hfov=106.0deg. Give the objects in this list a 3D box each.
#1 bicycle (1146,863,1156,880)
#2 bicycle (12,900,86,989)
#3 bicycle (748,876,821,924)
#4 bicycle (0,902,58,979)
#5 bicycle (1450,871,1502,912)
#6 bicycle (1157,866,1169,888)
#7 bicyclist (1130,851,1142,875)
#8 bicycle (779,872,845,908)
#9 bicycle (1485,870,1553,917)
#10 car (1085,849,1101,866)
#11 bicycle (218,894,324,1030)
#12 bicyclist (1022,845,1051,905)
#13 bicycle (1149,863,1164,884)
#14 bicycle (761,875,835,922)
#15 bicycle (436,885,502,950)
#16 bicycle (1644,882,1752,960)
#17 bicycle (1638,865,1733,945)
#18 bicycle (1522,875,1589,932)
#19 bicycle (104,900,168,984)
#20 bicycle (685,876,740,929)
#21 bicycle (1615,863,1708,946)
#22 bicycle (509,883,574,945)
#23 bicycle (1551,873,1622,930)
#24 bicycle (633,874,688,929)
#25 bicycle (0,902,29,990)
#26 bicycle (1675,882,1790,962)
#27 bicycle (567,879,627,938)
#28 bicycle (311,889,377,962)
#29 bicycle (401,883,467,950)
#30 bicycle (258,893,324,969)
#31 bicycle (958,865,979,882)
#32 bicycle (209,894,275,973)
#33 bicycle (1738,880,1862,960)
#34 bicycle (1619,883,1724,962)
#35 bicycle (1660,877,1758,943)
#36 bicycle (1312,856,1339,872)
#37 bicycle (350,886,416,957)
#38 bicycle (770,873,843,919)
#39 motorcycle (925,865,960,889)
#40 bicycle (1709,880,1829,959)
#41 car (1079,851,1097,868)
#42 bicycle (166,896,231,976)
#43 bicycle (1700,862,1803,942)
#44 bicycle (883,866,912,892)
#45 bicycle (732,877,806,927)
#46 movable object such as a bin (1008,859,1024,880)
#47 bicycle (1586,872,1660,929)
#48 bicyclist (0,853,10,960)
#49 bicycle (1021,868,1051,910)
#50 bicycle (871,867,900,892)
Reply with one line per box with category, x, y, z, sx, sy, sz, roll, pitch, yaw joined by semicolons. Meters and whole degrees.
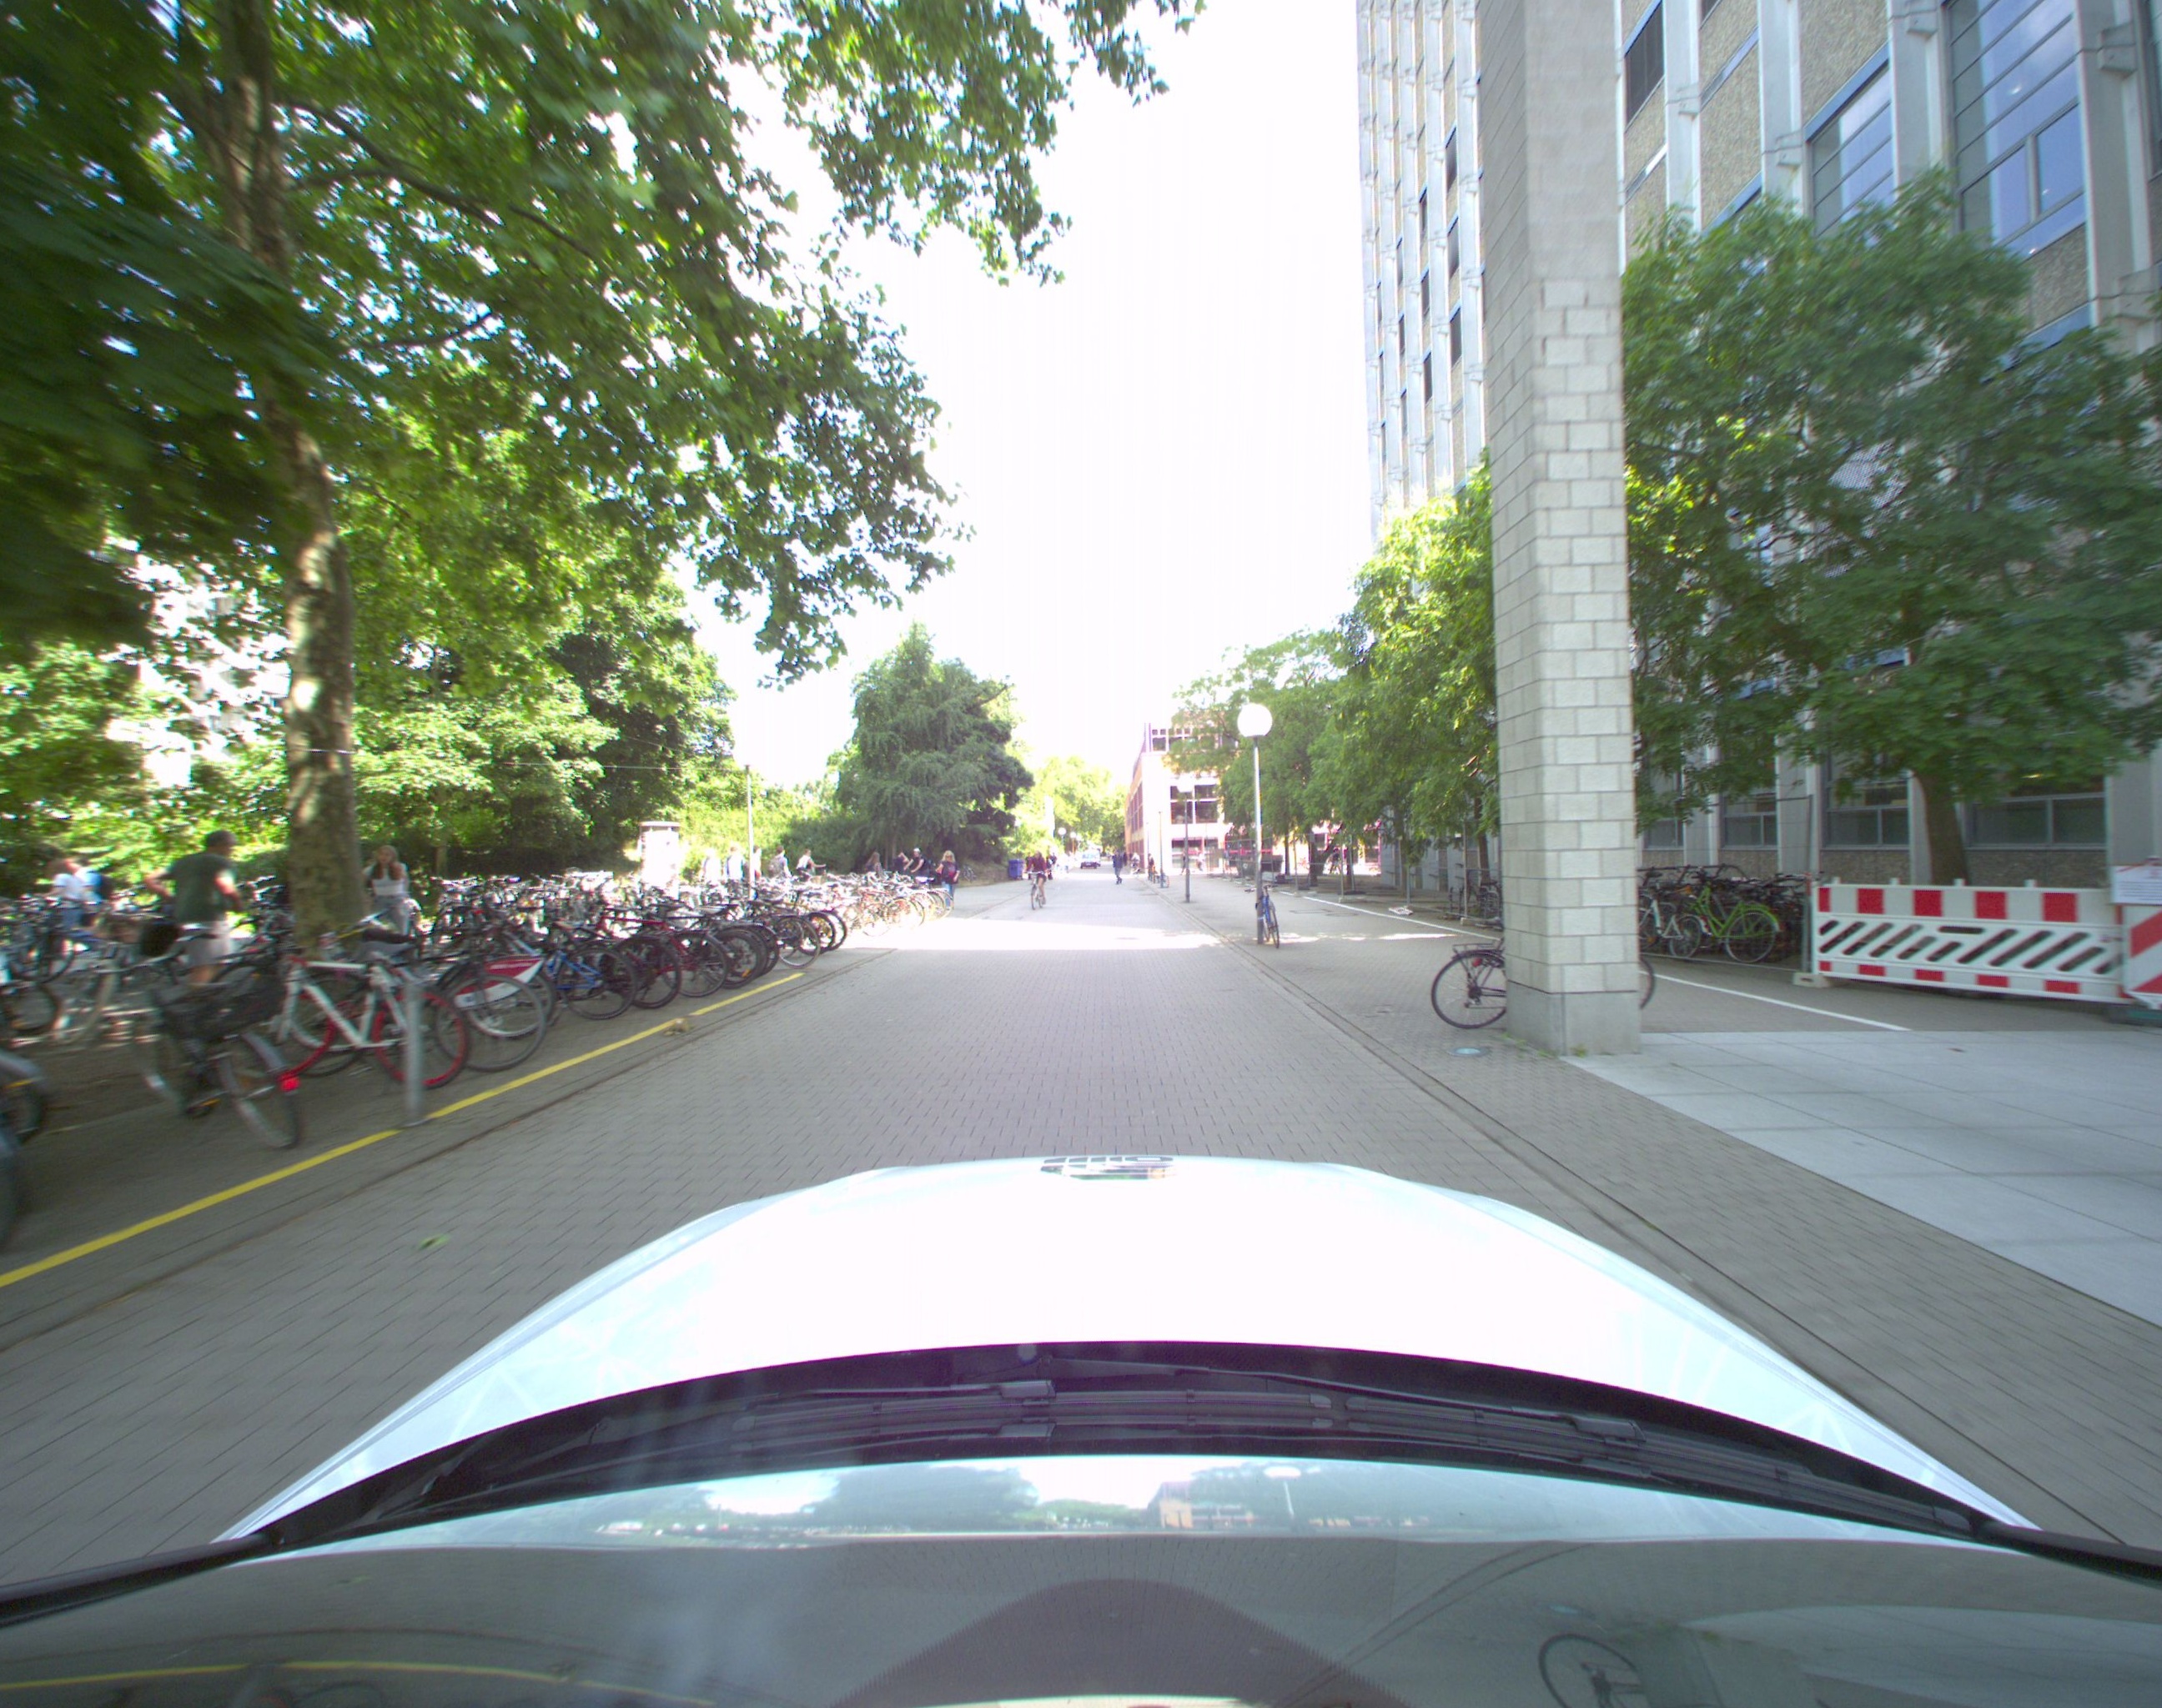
bicycle;4.209;1.034;49.275;0.449;0.962;1.740;-4;0;1
bicycle;-14.368;1.224;11.361;1.678;1.083;0.477;-1;0;44
bicycle;-6.963;1.065;19.114;1.680;1.083;0.476;-1;0;21
bicycle;-16.250;1.288;11.805;0.596;1.083;1.709;-1;0;45
bicycle;9.428;0.874;19.482;0.290;0.905;1.615;-1;0;-7
bicycle;3.808;1.064;37.963;0.394;0.936;1.732;-3;0;1
bicyclist;4.028;0.639;59.743;0.591;1.716;0.659;-1;0;-31
bicycle;-8.266;1.104;25.020;1.910;1.047;0.538;0;0;-22
bicycle;9.290;0.807;17.347;0.290;0.905;1.801;-1;0;-7
car;1.574;0.402;101.546;1.876;1.974;5.217;-1;0;2
bicycle;-8.342;1.047;8.440;0.578;1.199;1.680;0;0;-38
bicyclist;-1.307;0.618;23.955;0.769;1.716;0.910;-2;-1;-1
bicycle;4.051;1.029;43.853;0.706;1.093;1.749;-1;0;1
bicycle;-6.802;1.061;19.604;1.705;1.083;0.476;-1;0;16
bicycle;-11.042;1.119;14.672;1.677;1.083;0.477;-1;0;36
bicycle;8.138;0.850;10.805;0.290;0.905;1.447;-1;0;-2
bicycle;9.022;0.725;12.206;0.290;1.094;1.447;-1;0;-2
bicycle;8.323;0.840;14.337;0.290;0.905;1.447;-1;0;-2
bicycle;-13.762;1.248;11.855;1.677;1.083;0.477;-1;0;36
bicycle;-8.134;1.048;17.949;1.678;1.083;0.477;-1;0;43
bicycle;8.630;0.717;12.159;0.290;1.128;1.447;-1;0;-2
bicycle;-10.207;1.109;15.387;1.677;1.083;0.477;-1;0;36
bicycle;8.922;0.817;14.421;0.290;0.905;1.447;-1;0;-2
bicycle;-8.769;0.960;16.953;1.678;1.083;0.477;-1;0;43
bicycle;-14.781;1.236;11.026;1.678;1.083;0.477;-1;0;44
bicycle;8.484;0.854;10.665;0.290;0.905;1.447;-1;0;-2
bicycle;-9.646;1.055;16.199;1.678;1.083;0.477;-1;0;39
bicycle;-12.068;1.144;13.317;1.677;1.083;0.477;-1;0;36
bicycle;-11.338;1.072;14.263;1.677;1.083;0.477;-1;0;36
bicycle;-12.529;1.193;12.907;1.677;1.083;0.477;-1;0;36
bicycle;-6.193;1.092;44.945;0.418;0.910;1.747;-1;-2;17
bicycle;-12.815;1.181;12.424;1.677;1.083;0.477;-1;0;36
bicycle;9.349;0.826;10.647;0.290;0.905;1.447;-1;0;-2
bicycle;7.803;0.875;10.819;0.290;0.905;1.447;-1;0;-2
bicycle;9.373;0.810;12.210;0.290;0.887;1.447;-1;0;-2
bicycle;16.703;0.685;55.577;1.686;1.110;0.475;0;0;5
bicycle;-11.787;1.108;13.735;1.677;1.083;0.477;-1;0;36
bicycle;-6.781;1.037;20.114;1.682;1.110;0.476;-1;0;13
motorcycle;-6.380;1.052;37.433;2.001;1.047;0.477;1;1;44
bicycle;8.942;0.825;10.643;0.290;0.905;1.447;-1;0;-2
car;0.794;0.592;88.207;1.783;1.761;4.483;-1;0;2
bicycle;-13.306;1.196;12.269;1.677;1.083;0.477;-1;0;36
bicycle;10.011;0.680;12.205;0.290;1.099;1.447;-1;0;-2
bicycle;-7.941;1.067;35.236;0.476;1.047;1.680;2;0;-39
bicycle;-7.156;1.084;18.659;1.680;1.083;0.476;-1;0;21
movable object such as a bin;-4.199;0.982;52.616;0.704;1.336;1.243;1;0;12
bicycle;9.595;0.800;14.456;0.290;0.905;1.447;-1;0;-2
bicyclist;-16.226;0.773;11.839;0.588;1.568;0.726;-1;-1;45
bicycle;-1.292;1.012;23.922;0.769;1.150;2.107;-2;-1;-1
bicycle;-8.354;1.077;34.757;0.476;1.047;1.680;0;0;-39
